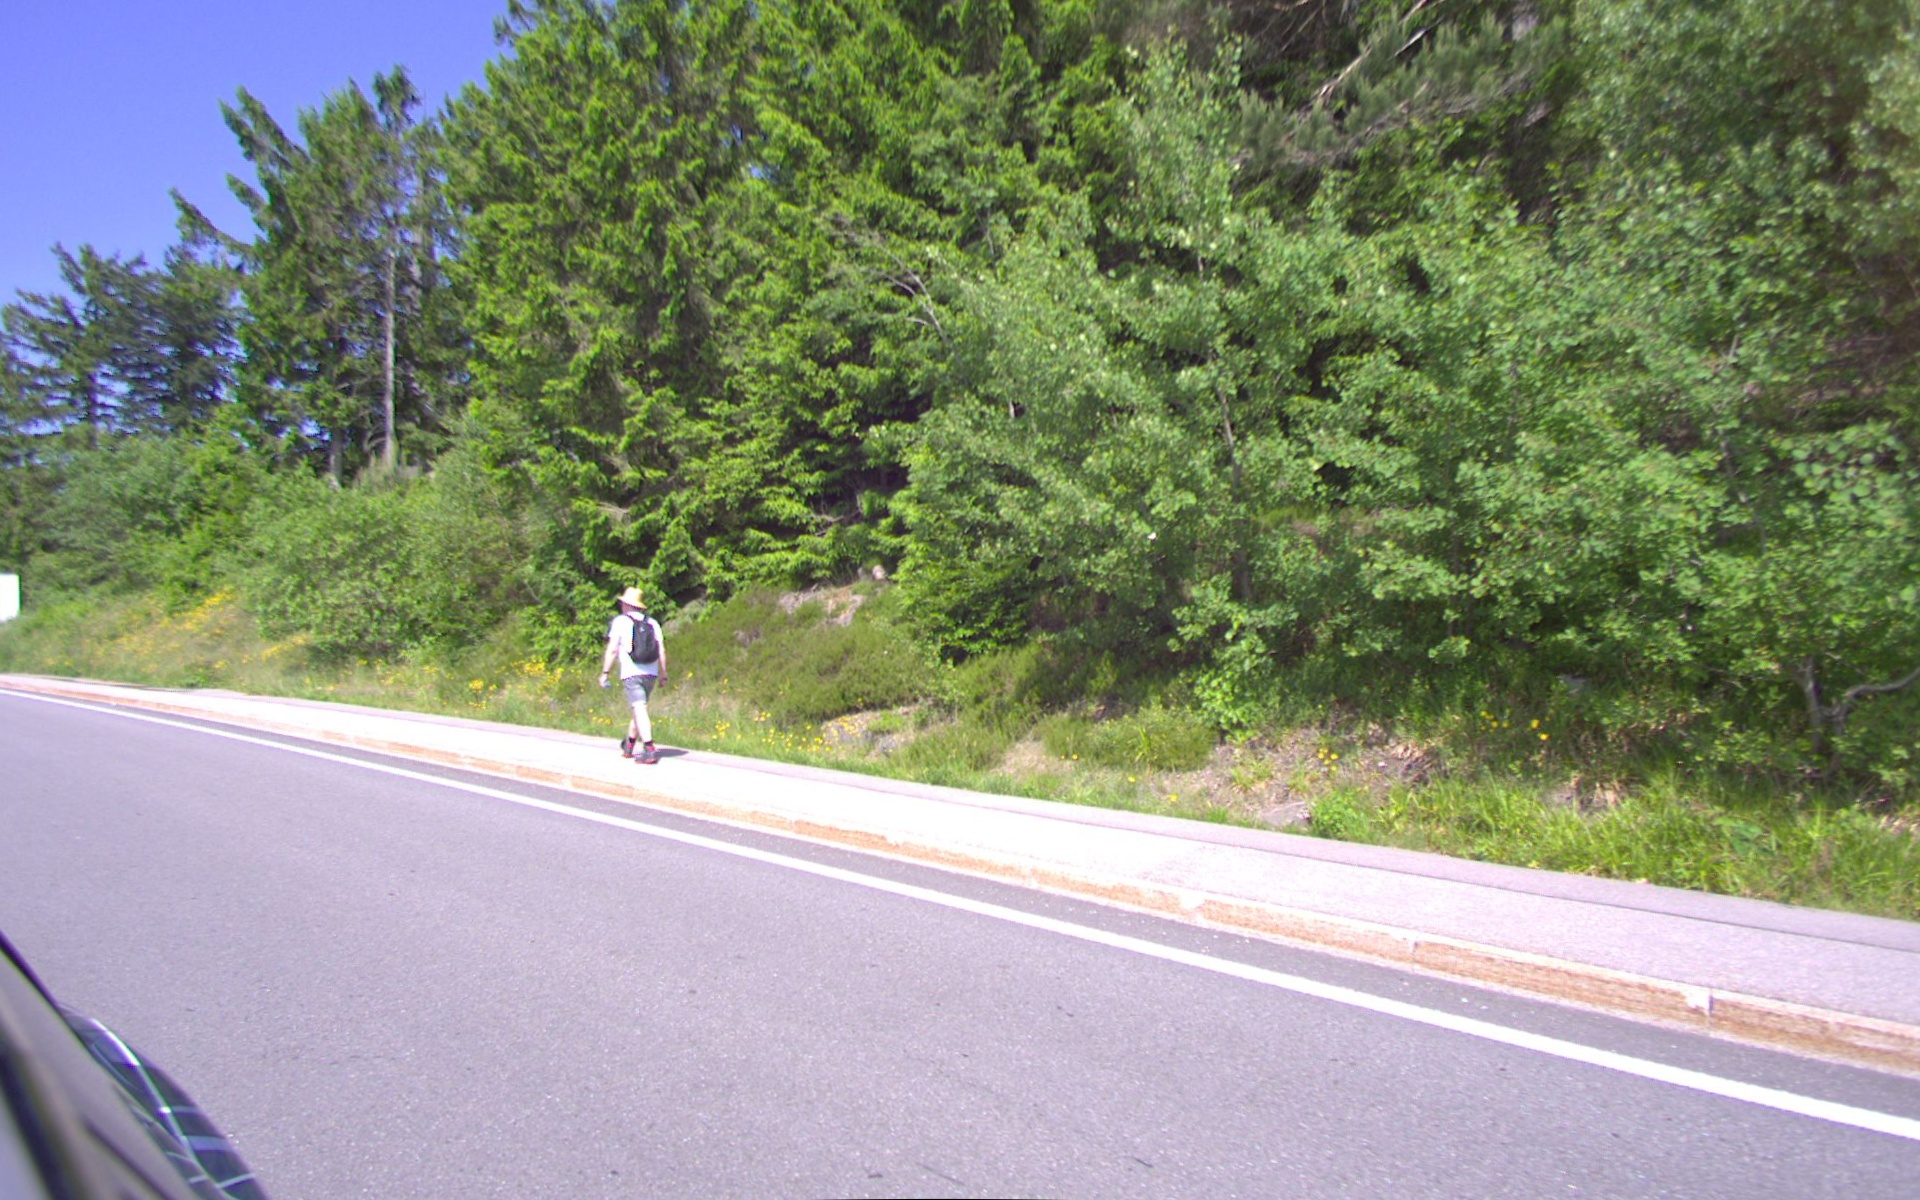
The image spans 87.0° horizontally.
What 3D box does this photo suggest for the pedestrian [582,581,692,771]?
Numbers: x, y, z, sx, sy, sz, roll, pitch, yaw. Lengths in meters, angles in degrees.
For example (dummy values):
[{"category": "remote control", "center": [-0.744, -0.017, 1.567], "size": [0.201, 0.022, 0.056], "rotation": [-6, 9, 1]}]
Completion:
[{"category": "pedestrian", "center": [-3.157, 0.718, 9.900], "size": [0.824, 1.759, 0.676], "rotation": [-2, -2, 37]}]
